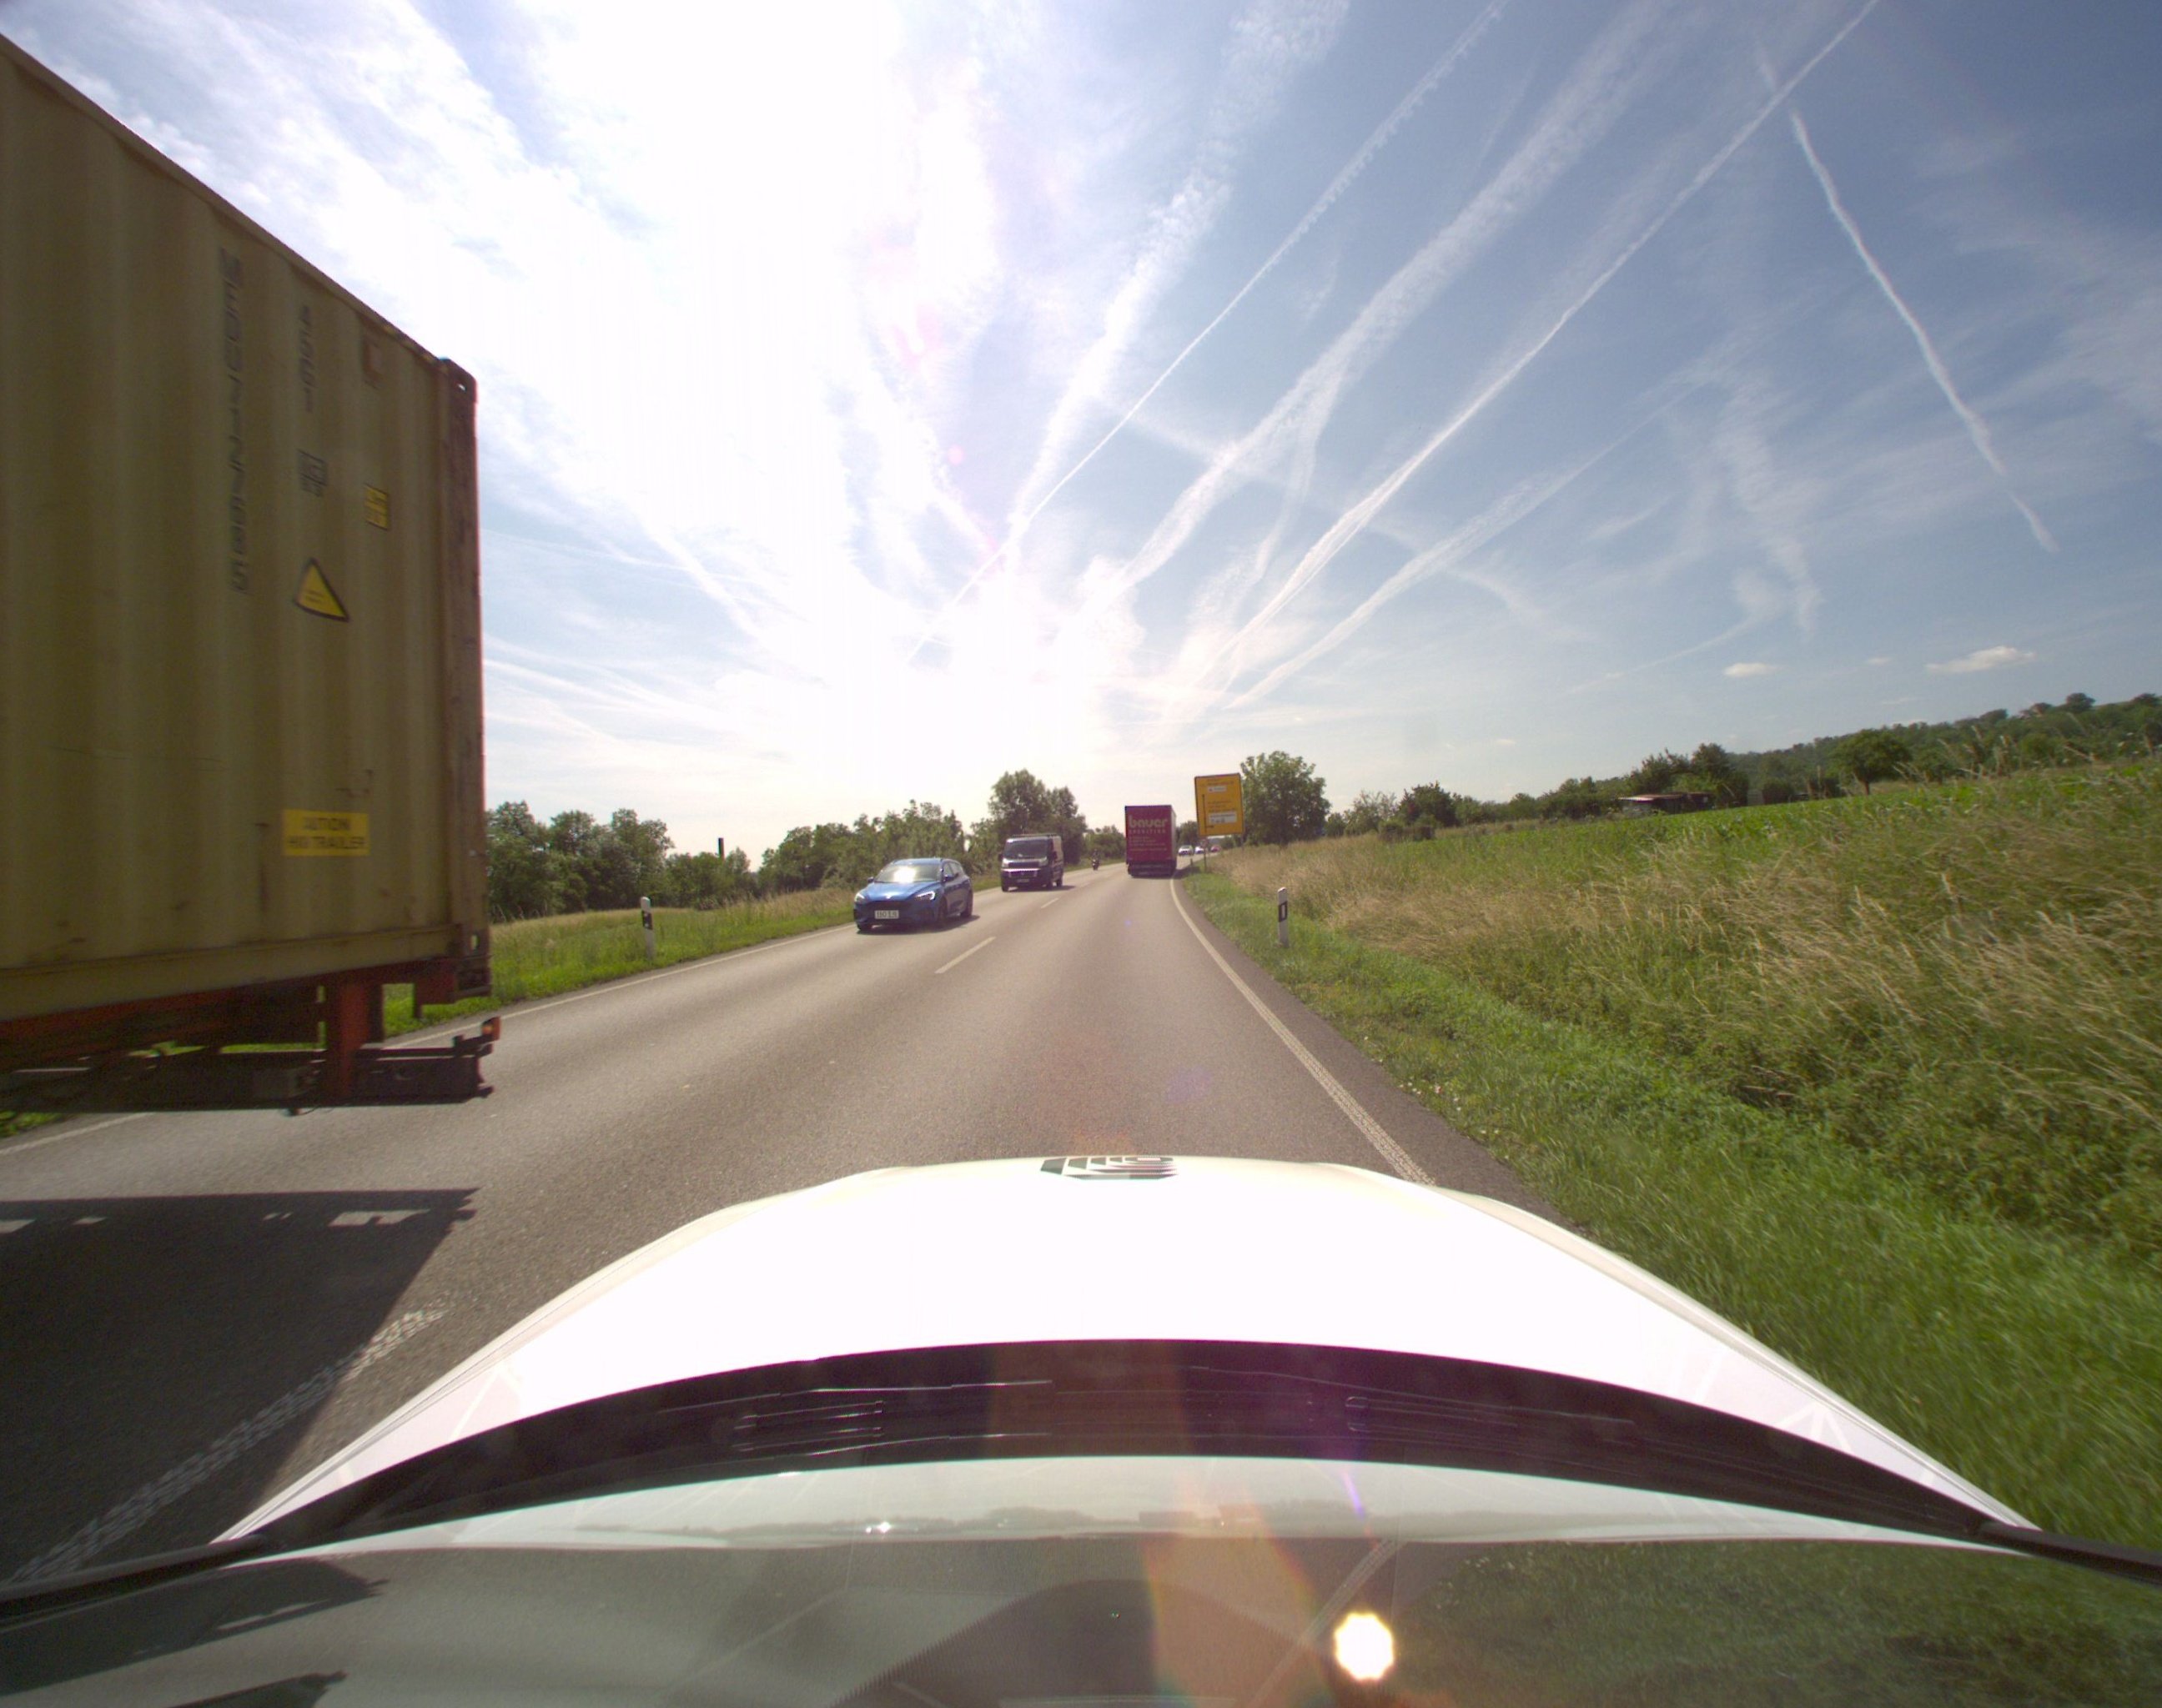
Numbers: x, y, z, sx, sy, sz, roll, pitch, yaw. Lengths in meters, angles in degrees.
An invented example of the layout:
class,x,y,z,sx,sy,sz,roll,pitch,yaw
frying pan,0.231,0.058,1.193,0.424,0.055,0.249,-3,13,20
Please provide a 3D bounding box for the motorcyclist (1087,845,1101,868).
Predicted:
class,x,y,z,sx,sy,sz,roll,pitch,yaw
motorcyclist,0.973,0.174,61.981,0.914,1.718,0.964,-2,0,6

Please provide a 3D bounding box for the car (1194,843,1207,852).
class,x,y,z,sx,sy,sz,roll,pitch,yaw
car,20.447,-1.050,139.700,1.738,1.414,3.788,-3,1,15

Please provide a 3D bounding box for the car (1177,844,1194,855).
class,x,y,z,sx,sy,sz,roll,pitch,yaw
car,15.935,-0.701,124.438,1.818,1.617,4.382,-1,0,17

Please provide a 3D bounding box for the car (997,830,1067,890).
class,x,y,z,sx,sy,sz,roll,pitch,yaw
car,-1.974,0.211,34.347,2.160,2.303,4.913,-2,0,5

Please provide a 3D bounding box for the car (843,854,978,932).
class,x,y,z,sx,sy,sz,roll,pitch,yaw
car,-3.670,0.769,18.378,1.855,1.486,4.362,-2,0,3

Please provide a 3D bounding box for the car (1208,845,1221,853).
class,x,y,z,sx,sy,sz,roll,pitch,yaw
car,25.424,-0.950,154.751,1.805,1.398,4.203,-1,0,19

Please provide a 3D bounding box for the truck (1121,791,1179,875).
class,x,y,z,sx,sy,sz,roll,pitch,yaw
truck,4.335,-1.106,49.906,3.096,4.506,12.187,0,0,6

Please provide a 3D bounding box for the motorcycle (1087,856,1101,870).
class,x,y,z,sx,sy,sz,roll,pitch,yaw
motorcycle,1.014,0.675,62.010,0.753,0.994,2.284,-1,0,7
